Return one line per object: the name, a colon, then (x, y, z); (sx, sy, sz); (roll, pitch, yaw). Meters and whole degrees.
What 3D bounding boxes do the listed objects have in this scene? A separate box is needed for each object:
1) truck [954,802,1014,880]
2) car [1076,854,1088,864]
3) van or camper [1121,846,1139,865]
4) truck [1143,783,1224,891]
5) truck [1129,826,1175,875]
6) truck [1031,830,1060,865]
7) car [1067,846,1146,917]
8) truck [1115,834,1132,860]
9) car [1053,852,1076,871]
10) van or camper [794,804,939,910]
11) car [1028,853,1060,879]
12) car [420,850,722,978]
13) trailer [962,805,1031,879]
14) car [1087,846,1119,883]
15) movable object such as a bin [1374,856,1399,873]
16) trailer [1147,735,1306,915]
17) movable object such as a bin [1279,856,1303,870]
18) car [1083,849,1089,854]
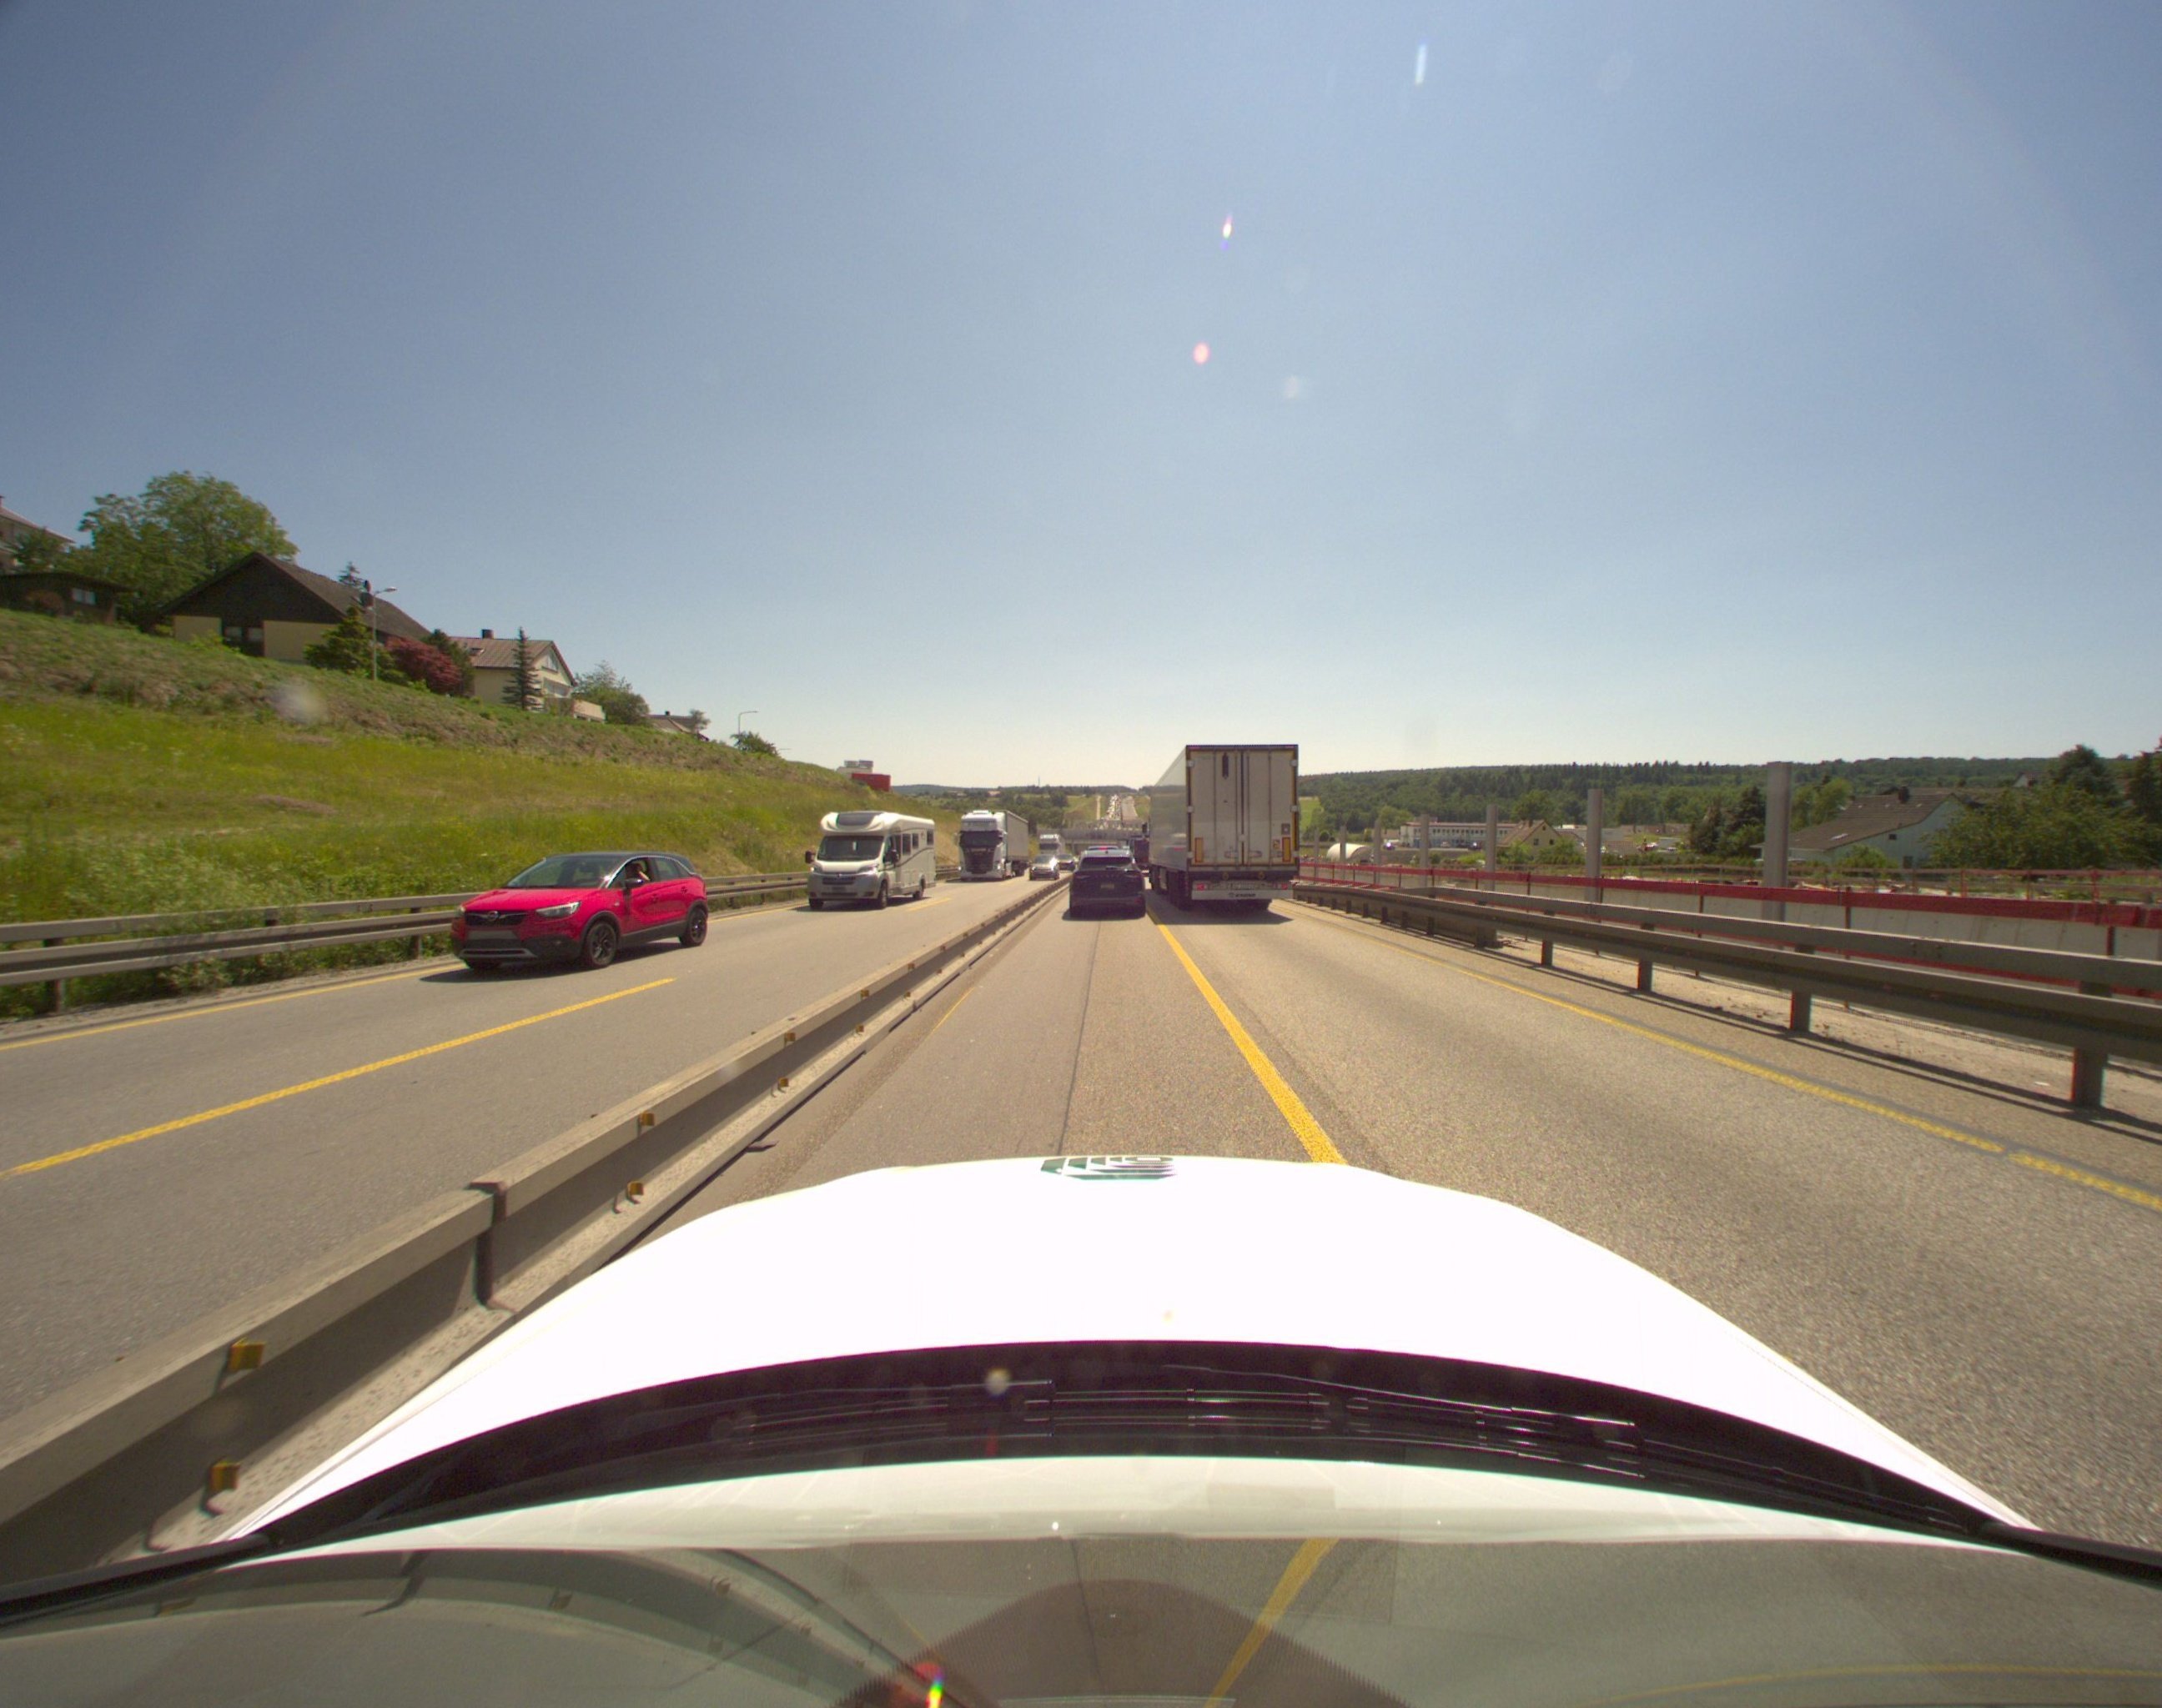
truck: (-5.535, -0.696, 47.123); (2.764, 4.286, 4.678); (0, 0, 1)
car: (0.248, 0.848, 136.935); (1.805, 1.638, 4.365); (-1, 0, 3)
van or camper: (5.795, 0.177, 96.618); (1.986, 2.244, 4.002); (1, 0, 2)
truck: (4.070, -0.617, 33.365); (2.766, 4.058, 4.905); (-1, -1, 1)
truck: (4.953, -0.198, 58.982); (2.803, 3.135, 12.845); (-1, 0, 3)
truck: (-4.349, -0.776, 100.726); (3.227, 4.160, 4.248); (-1, 0, 1)
car: (0.647, 0.620, 20.229); (1.793, 1.620, 3.299); (0, 0, 2)
truck: (6.641, -1.051, 128.698); (2.508, 3.959, 7.602); (1, 0, 1)
car: (-1.414, 0.650, 70.691); (1.842, 1.586, 4.175); (0, 0, 1)
van or camper: (-6.355, 0.070, 25.359); (2.326, 2.777, 7.519); (-1, 0, 1)
car: (-2.147, 0.677, 47.848); (1.623, 1.479, 3.381); (0, 0, 1)
car: (-7.208, 0.733, 12.134); (1.710, 1.552, 4.266); (-1, 0, 1)
trailer: (-5.364, -0.714, 54.692); (2.800, 4.286, 14.039); (0, 0, 1)
car: (1.124, 0.495, 40.780); (1.468, 1.795, 3.300); (0, 0, 3)
movable object such as a bin: (41.051, 1.437, 109.438); (1.985, 2.239, 4.154); (0, 0, 3)
trailer: (3.879, -0.598, 25.596); (2.791, 4.058, 14.120); (-1, -1, 1)
movable object such as a bin: (43.770, 1.877, 169.910); (2.876, 2.909, 9.485); (0, 0, 3)
car: (1.460, -0.765, 255.313); (1.726, 1.794, 3.581); (0, 0, 1)
